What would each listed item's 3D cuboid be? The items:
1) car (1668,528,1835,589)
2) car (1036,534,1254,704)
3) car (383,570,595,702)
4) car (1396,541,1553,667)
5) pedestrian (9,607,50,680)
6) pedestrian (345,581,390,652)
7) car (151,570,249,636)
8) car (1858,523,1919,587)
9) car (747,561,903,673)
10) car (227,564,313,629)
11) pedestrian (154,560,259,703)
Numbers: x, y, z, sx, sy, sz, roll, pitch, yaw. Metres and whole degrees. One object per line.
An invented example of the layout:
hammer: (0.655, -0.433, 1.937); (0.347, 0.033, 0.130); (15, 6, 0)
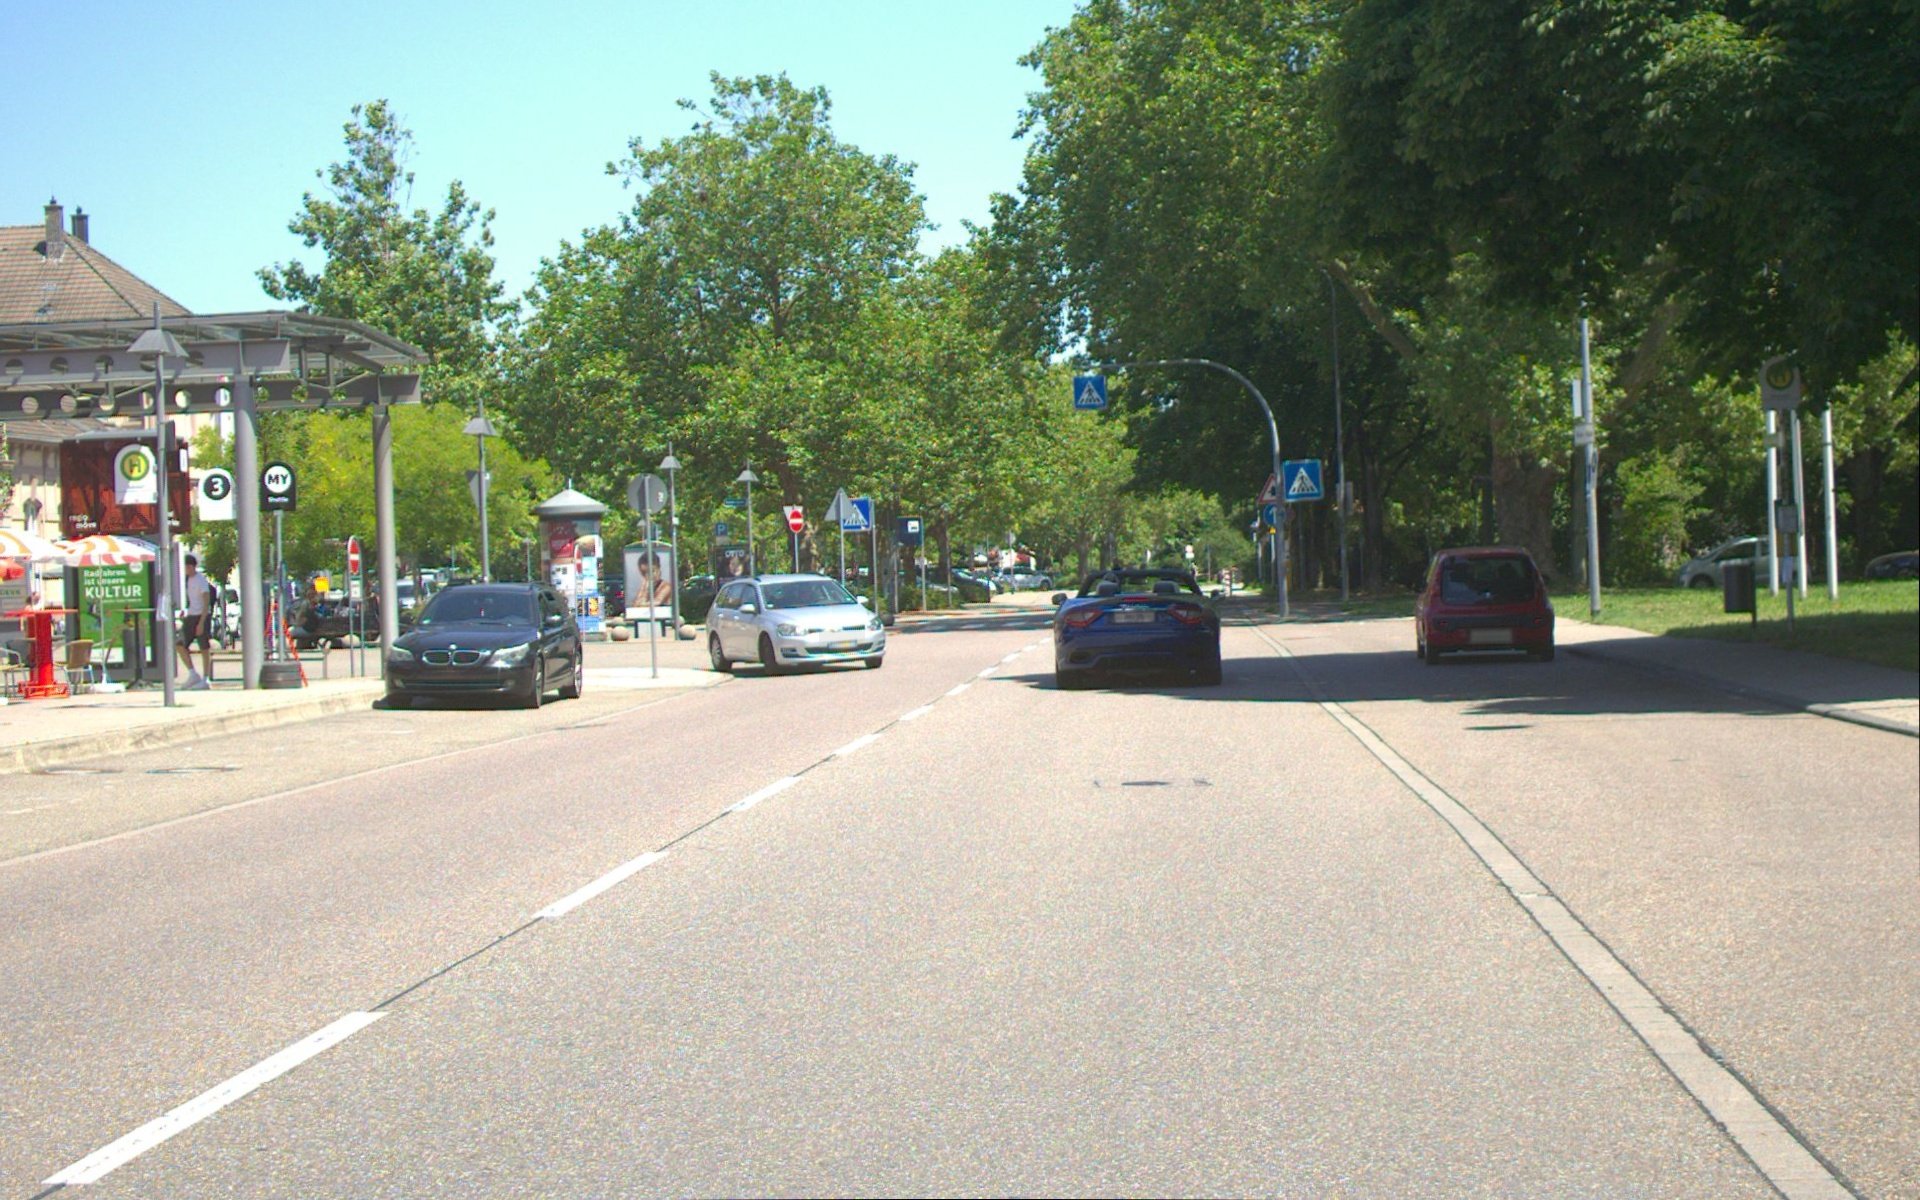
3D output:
car: (21.010, -1.099, 91.362); (4.106, 1.461, 1.999); (-2, 1, 8)
car: (2.217, 0.198, 40.131); (2.126, 1.842, 4.047); (-1, 0, 9)
car: (-5.744, 0.404, 42.459); (1.719, 1.473, 4.785); (-2, 0, 2)
car: (6.538, 0.031, 44.000); (1.719, 1.473, 3.705); (-2, 0, 5)
pedestrian: (-21.564, 1.011, 79.641); (0.655, 1.667, 0.631); (-1, -2, -42)
pedestrian: (-14.076, 0.404, 81.696); (0.761, 1.653, 0.720); (-3, -1, 21)
car: (-24.438, 0.081, 110.687); (1.751, 1.911, 4.775); (-2, 2, 3)
car: (26.291, -1.252, 90.545); (4.825, 1.602, 1.999); (-2, 1, 8)
car: (-1.988, 0.219, 51.708); (1.815, 1.439, 4.158); (-4, 1, 4)
car: (-23.634, -0.136, 117.879); (1.993, 2.006, 4.000); (-2, 2, 2)
pedestrian: (-9.852, 0.418, 44.991); (0.800, 1.822, 1.141); (-3, -1, 20)
